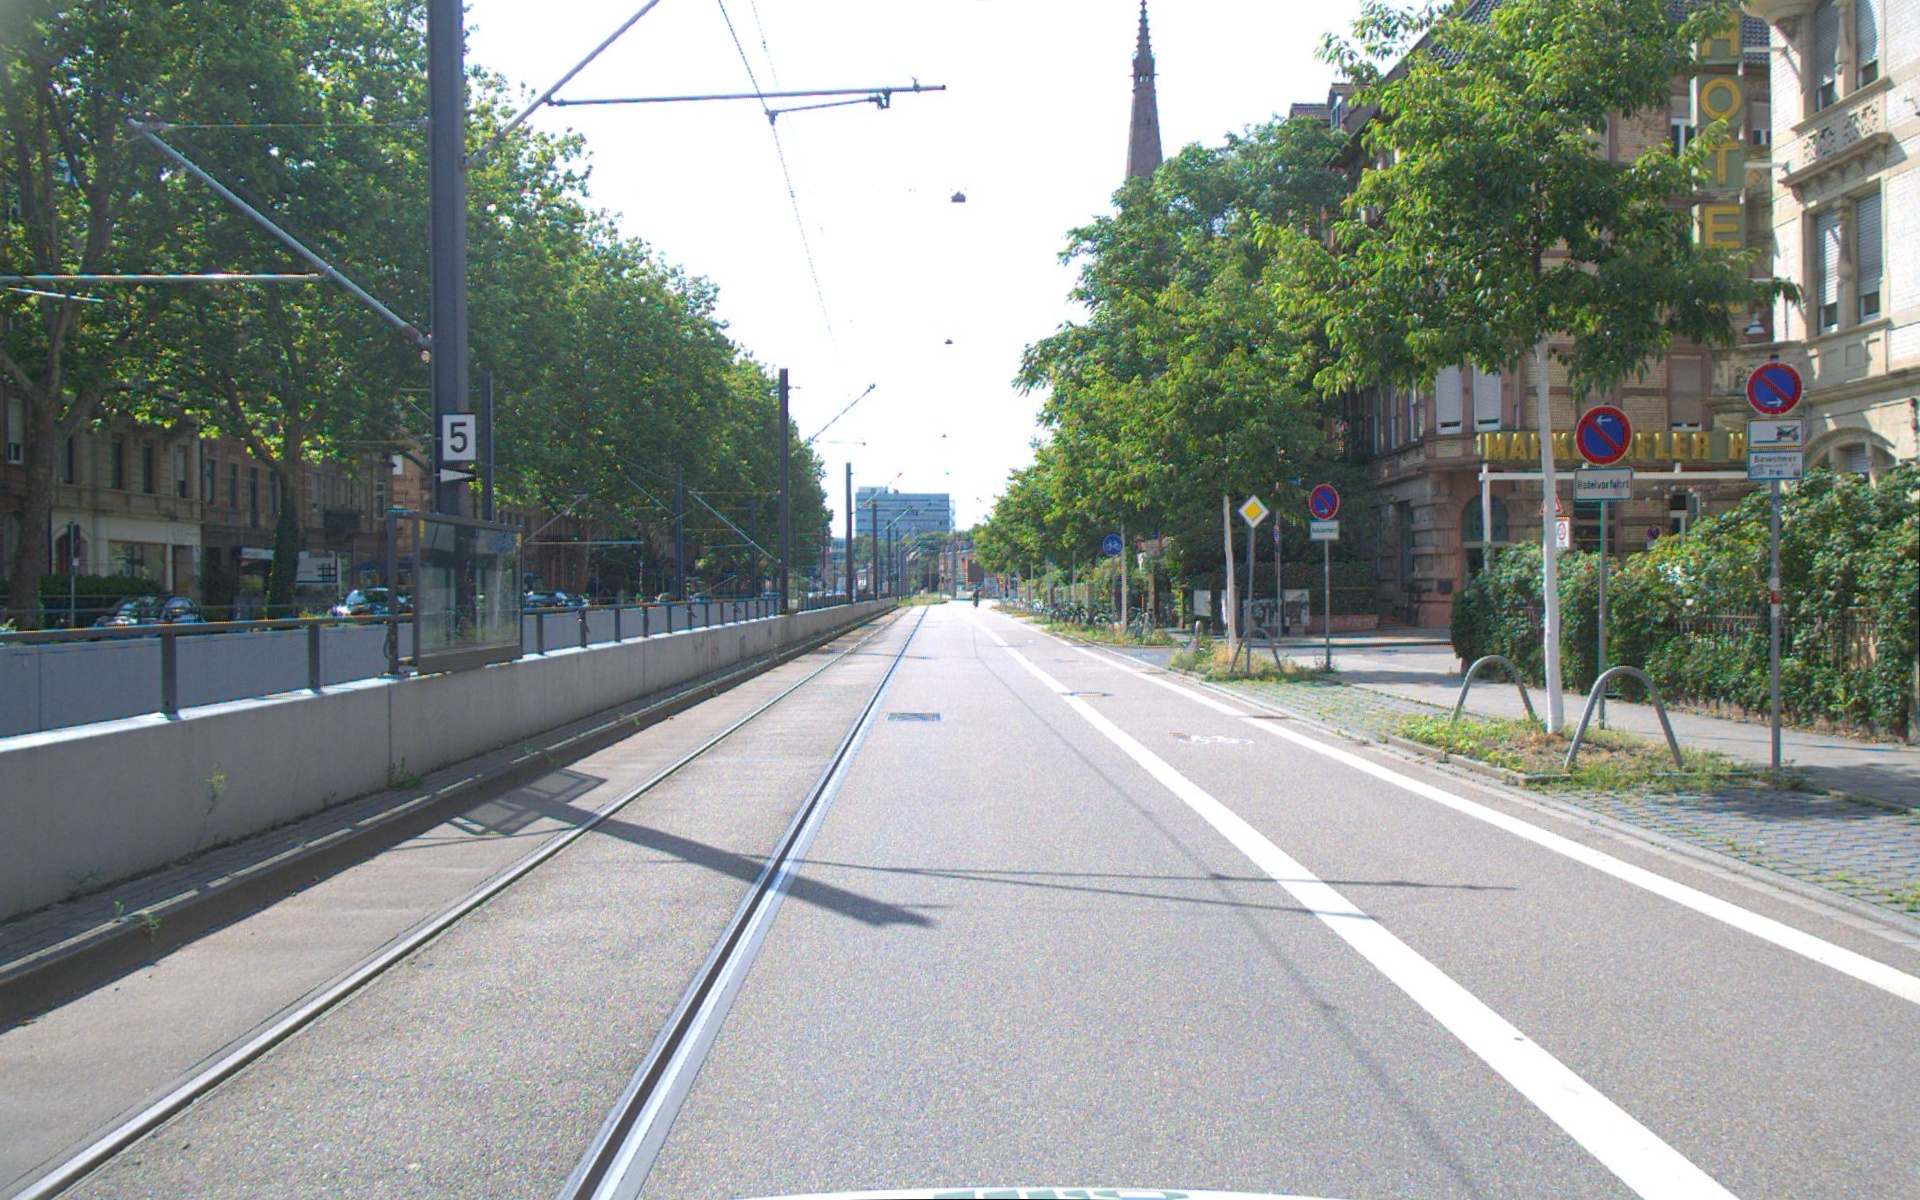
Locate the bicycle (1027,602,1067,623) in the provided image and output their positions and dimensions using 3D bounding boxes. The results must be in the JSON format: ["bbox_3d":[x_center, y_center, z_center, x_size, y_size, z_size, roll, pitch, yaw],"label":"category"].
[{"bbox_3d":[4.169,0.591,79.213,1.780,0.918,0.603,-3,1,-4],"label":"bicycle"}]

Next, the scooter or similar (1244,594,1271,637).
[{"bbox_3d":[8.373,0.427,46.576,0.451,1.178,1.573,-2,0,0],"label":"scooter or similar"}]

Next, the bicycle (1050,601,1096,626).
[{"bbox_3d":[4.625,0.534,67.956,1.780,0.918,0.603,-3,1,-4],"label":"bicycle"}]

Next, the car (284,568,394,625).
[{"bbox_3d":[-20.265,-0.133,54.164,1.952,1.665,4.001,-3,1,1],"label":"car"}]

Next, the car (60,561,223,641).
[{"bbox_3d":[-19.375,-0.022,39.325,1.682,1.720,3.732,-2,1,5],"label":"car"}]

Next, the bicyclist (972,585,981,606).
[{"bbox_3d":[1.362,-0.378,138.724,0.755,1.760,1.026,0,0,0],"label":"bicyclist"}]

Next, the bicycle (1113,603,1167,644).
[{"bbox_3d":[4.916,0.643,45.209,0.640,1.057,1.810,-3,1,-22],"label":"bicycle"}]

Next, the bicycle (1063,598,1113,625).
[{"bbox_3d":[4.863,0.439,63.025,1.780,0.918,0.651,-3,1,-4],"label":"bicycle"}]

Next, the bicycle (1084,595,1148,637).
[{"bbox_3d":[4.748,0.481,50.381,1.784,1.165,0.650,-3,1,-12],"label":"bicycle"}]

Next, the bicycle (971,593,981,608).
[{"bbox_3d":[1.363,0.015,138.786,0.783,1.258,2.777,0,0,0],"label":"bicycle"}]

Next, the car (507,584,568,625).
[{"bbox_3d":[-19.755,0.171,77.425,1.801,1.758,3.999,-3,1,-1],"label":"car"}]
